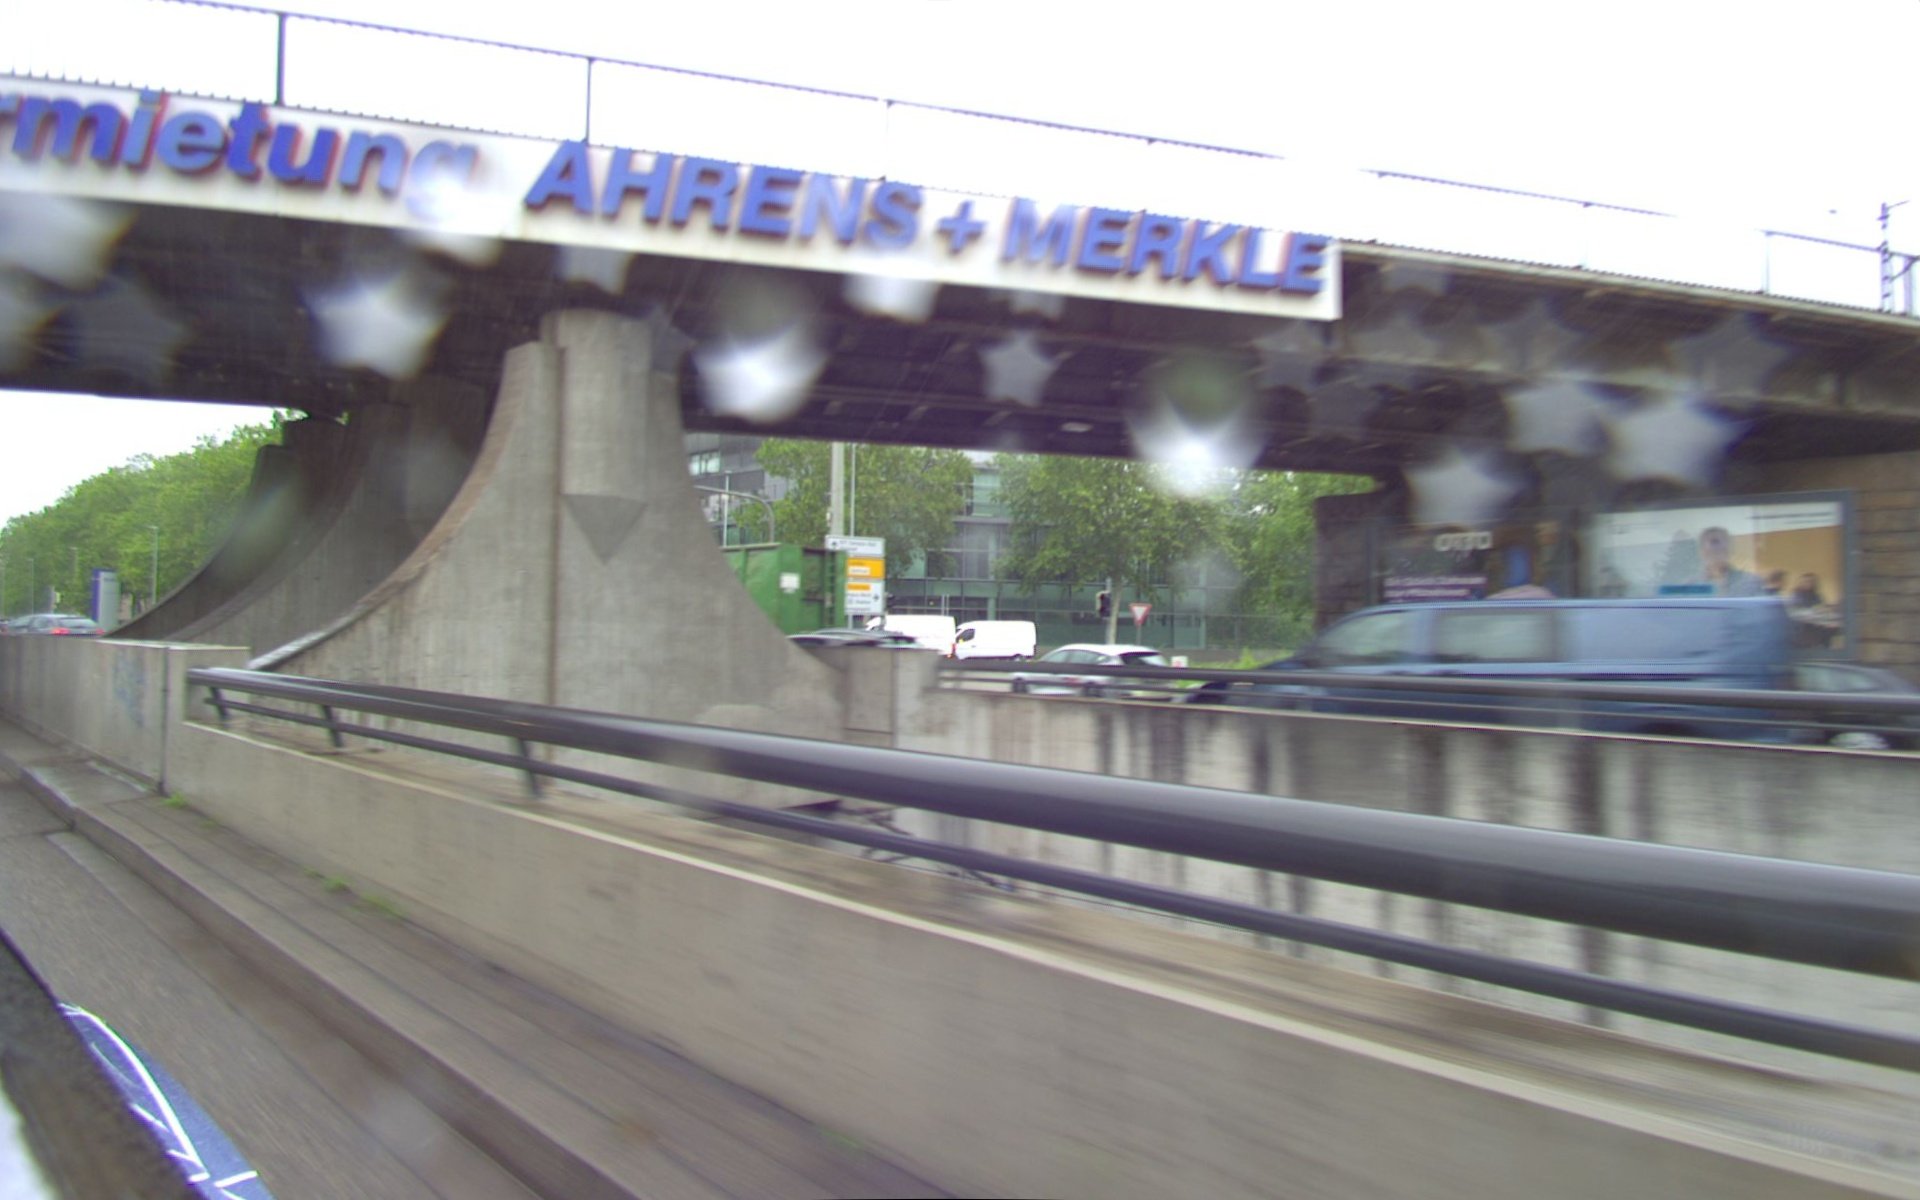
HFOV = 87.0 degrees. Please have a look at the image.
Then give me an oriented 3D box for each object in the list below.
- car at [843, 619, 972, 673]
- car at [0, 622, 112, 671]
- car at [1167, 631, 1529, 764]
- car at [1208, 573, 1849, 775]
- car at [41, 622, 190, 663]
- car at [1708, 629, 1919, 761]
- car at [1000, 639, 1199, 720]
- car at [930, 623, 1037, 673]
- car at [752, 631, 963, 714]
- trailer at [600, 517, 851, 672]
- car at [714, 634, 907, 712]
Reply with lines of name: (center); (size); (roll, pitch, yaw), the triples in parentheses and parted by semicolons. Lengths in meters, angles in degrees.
car: (-2.546, 2.210, 48.597); (5.862, 2.452, 1.975); (1, -2, -13)
car: (-31.076, 1.542, 34.218); (3.962, 1.558, 1.652); (0, -2, 15)
car: (5.510, 1.288, 14.716); (4.548, 1.586, 1.959); (-1, -3, 41)
car: (5.569, 0.653, 10.568); (5.538, 1.586, 1.958); (-1, -3, 41)
car: (-32.715, 1.635, 39.252); (4.630, 1.497, 1.741); (1, -2, 8)
car: (12.326, 1.193, 12.895); (4.377, 1.586, 1.847); (-1, -3, 41)
car: (3.019, 1.709, 22.810); (1.952, 1.586, 4.529); (2, -3, -33)
car: (1.213, 2.501, 52.498); (5.174, 2.452, 1.975); (1, -2, -13)
car: (-2.299, 1.493, 21.955); (4.548, 1.586, 1.959); (-1, -3, 41)
trailer: (-7.180, -0.023, 30.075); (8.513, 4.017, 2.653); (-1, -3, 40)
car: (-2.690, 1.233, 17.890); (3.441, 1.210, 1.492); (-1, -3, 41)
